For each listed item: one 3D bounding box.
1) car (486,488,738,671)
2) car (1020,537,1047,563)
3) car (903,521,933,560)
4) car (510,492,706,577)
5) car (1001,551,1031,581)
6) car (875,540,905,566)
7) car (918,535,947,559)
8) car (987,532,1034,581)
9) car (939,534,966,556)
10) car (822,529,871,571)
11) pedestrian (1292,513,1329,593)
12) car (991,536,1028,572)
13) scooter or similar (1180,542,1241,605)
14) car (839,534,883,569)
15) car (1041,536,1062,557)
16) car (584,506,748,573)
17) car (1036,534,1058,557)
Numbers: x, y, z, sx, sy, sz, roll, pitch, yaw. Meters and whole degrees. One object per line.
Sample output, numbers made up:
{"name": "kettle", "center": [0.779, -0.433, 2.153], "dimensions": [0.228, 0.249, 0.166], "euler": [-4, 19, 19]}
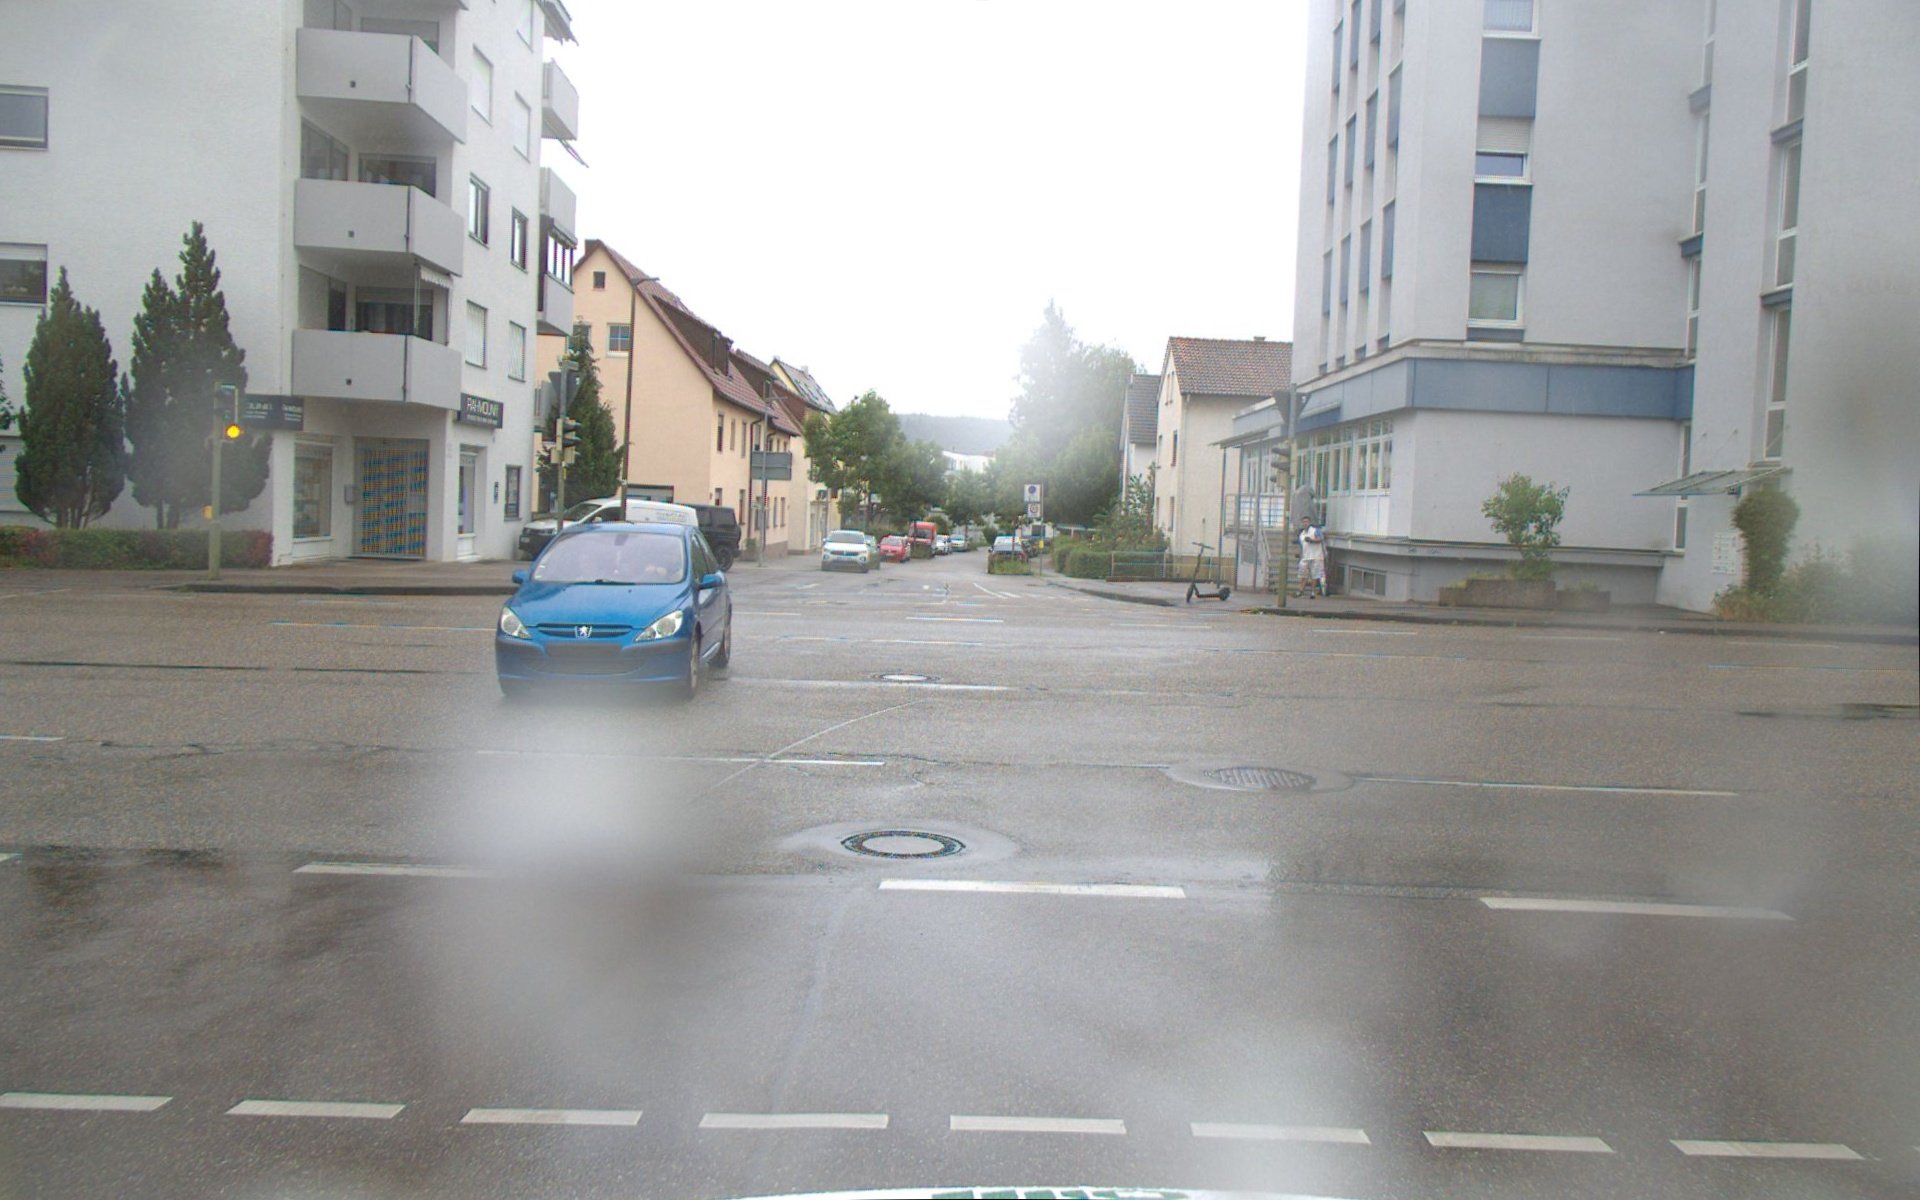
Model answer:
{"name": "car", "center": [-3.143, -0.146, 15.685], "dimensions": [1.732, 1.471, 3.997], "euler": [1, -1, -3]}
{"name": "car", "center": [5.958, -4.048, 133.679], "dimensions": [1.951, 2.048, 4.003], "euler": [1, 1, 4]}
{"name": "car", "center": [-3.101, -4.379, 122.893], "dimensions": [2.171, 2.816, 5.724], "euler": [1, 1, -1]}
{"name": "car", "center": [-9.118, -1.663, 43.093], "dimensions": [4.684, 1.809, 1.748], "euler": [4, -1, -40]}
{"name": "car", "center": [4.067, -2.455, 119.242], "dimensions": [1.951, 2.048, 4.003], "euler": [1, 1, 4]}
{"name": "car", "center": [-4.248, -2.838, 99.853], "dimensions": [1.732, 1.545, 3.998], "euler": [1, 1, -3]}
{"name": "car", "center": [-2.243, -4.281, 134.289], "dimensions": [1.951, 1.713, 4.002], "euler": [1, -1, 4]}
{"name": "car", "center": [2.368, -1.997, 77.006], "dimensions": [1.951, 2.049, 4.002], "euler": [1, -1, 4]}
{"name": "car", "center": [-0.636, -4.975, 149.879], "dimensions": [1.951, 1.736, 4.002], "euler": [1, -1, 6]}
{"name": "car", "center": [-4.338, -1.915, 63.439], "dimensions": [1.732, 1.549, 3.999], "euler": [1, 1, -2]}
{"name": "pedestrian", "center": [7.511, -1.007, 35.443], "dimensions": [0.641, 1.680, 0.646], "euler": [1, -1, 0]}
{"name": "car", "center": [2.978, -2.755, 99.122], "dimensions": [1.951, 2.048, 4.003], "euler": [1, 1, 4]}
{"name": "scooter or similar", "center": [5.179, -0.538, 34.248], "dimensions": [1.039, 1.249, 0.800], "euler": [1, -1, -10]}
{"name": "car", "center": [-4.464, -2.184, 74.988], "dimensions": [1.731, 1.545, 4.194], "euler": [1, 1, 0]}
{"name": "car", "center": [9.256, -5.414, 166.451], "dimensions": [1.951, 2.048, 4.003], "euler": [1, 1, 4]}
{"name": "car", "center": [-8.891, -1.799, 50.228], "dimensions": [4.578, 1.922, 1.935], "euler": [0, 2, -40]}
{"name": "car", "center": [8.269, -5.189, 157.804], "dimensions": [1.951, 2.048, 4.003], "euler": [1, 1, 4]}
